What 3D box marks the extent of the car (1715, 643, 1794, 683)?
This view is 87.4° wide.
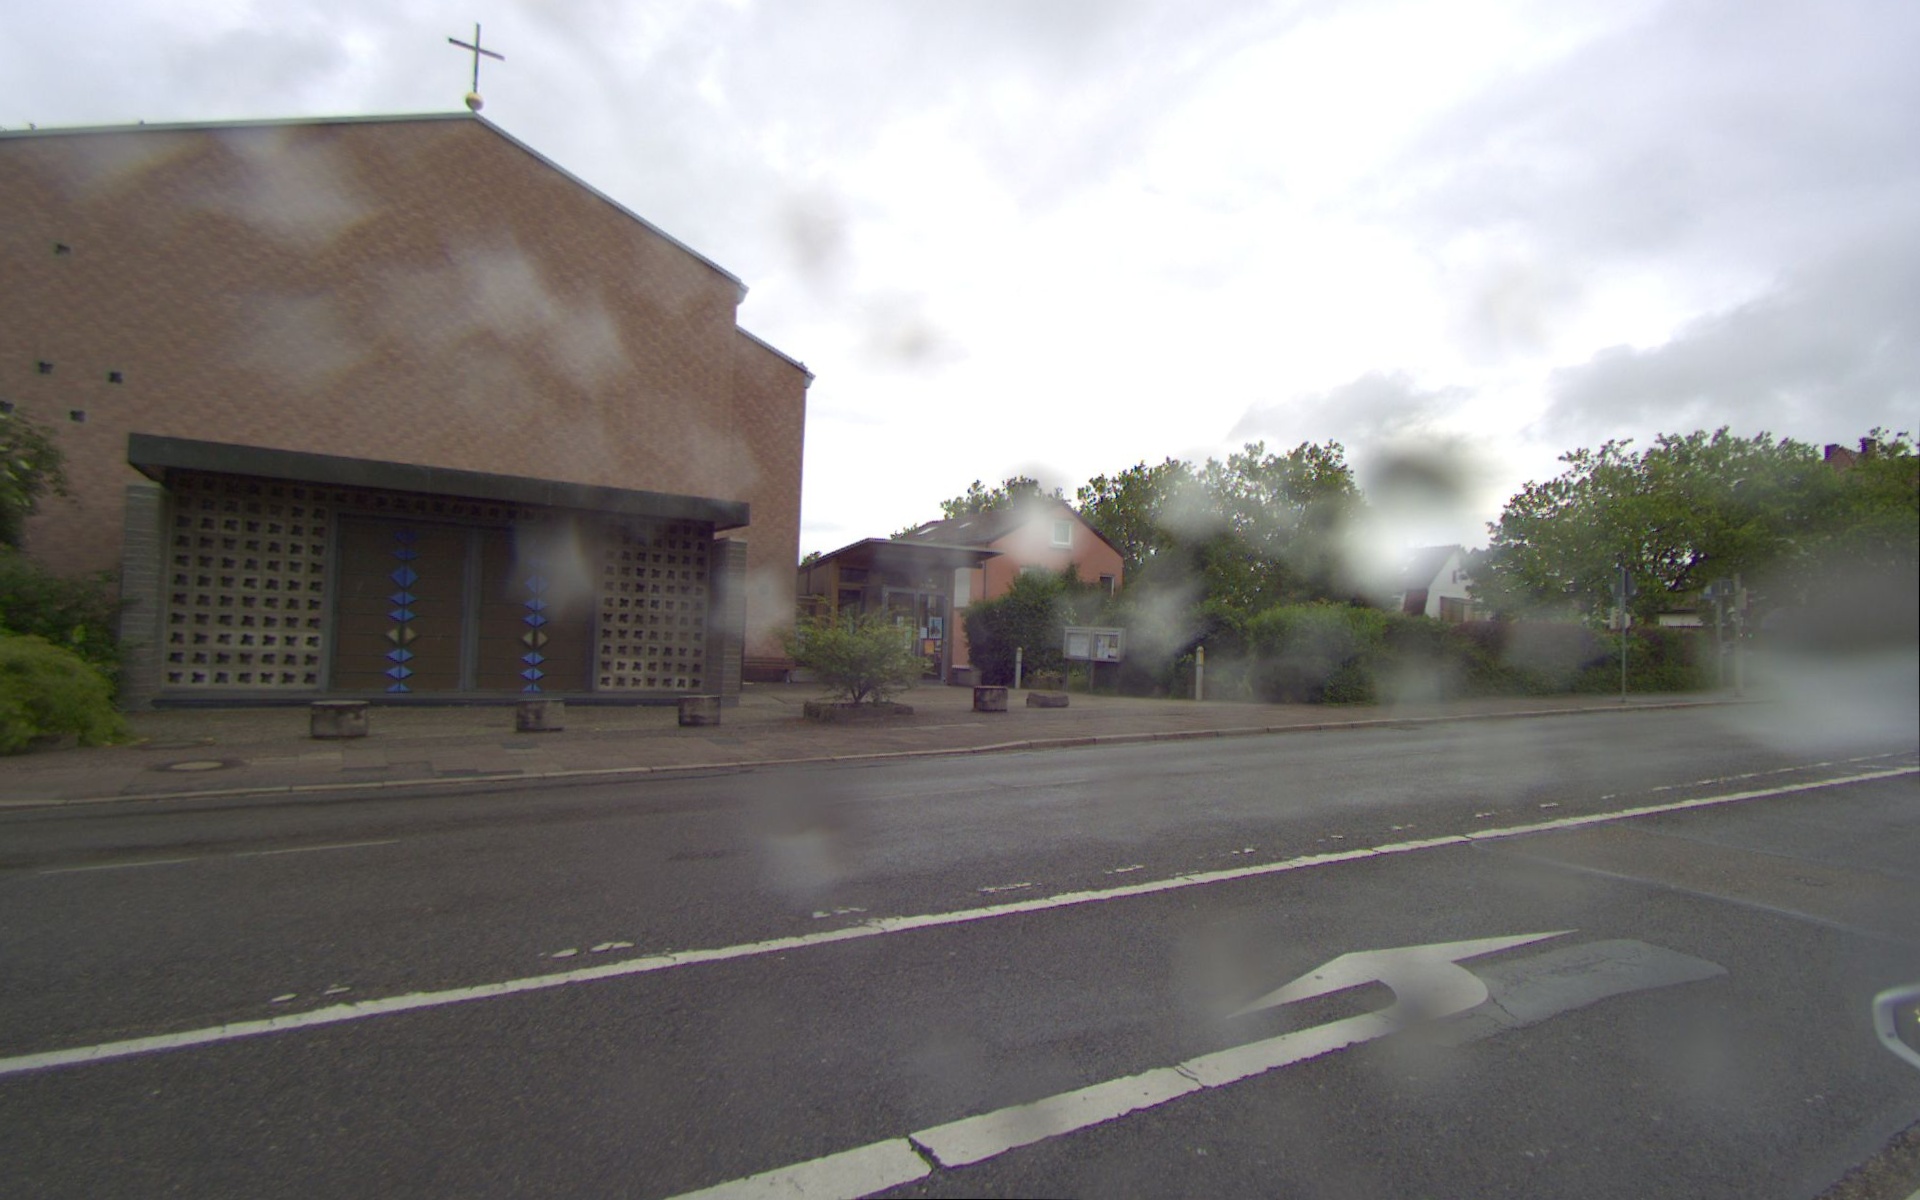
[{"bbox_3d":[38.577,3.039,48.753,3.955,1.573,1.798,-2,2,-32],"label":"car"}]
